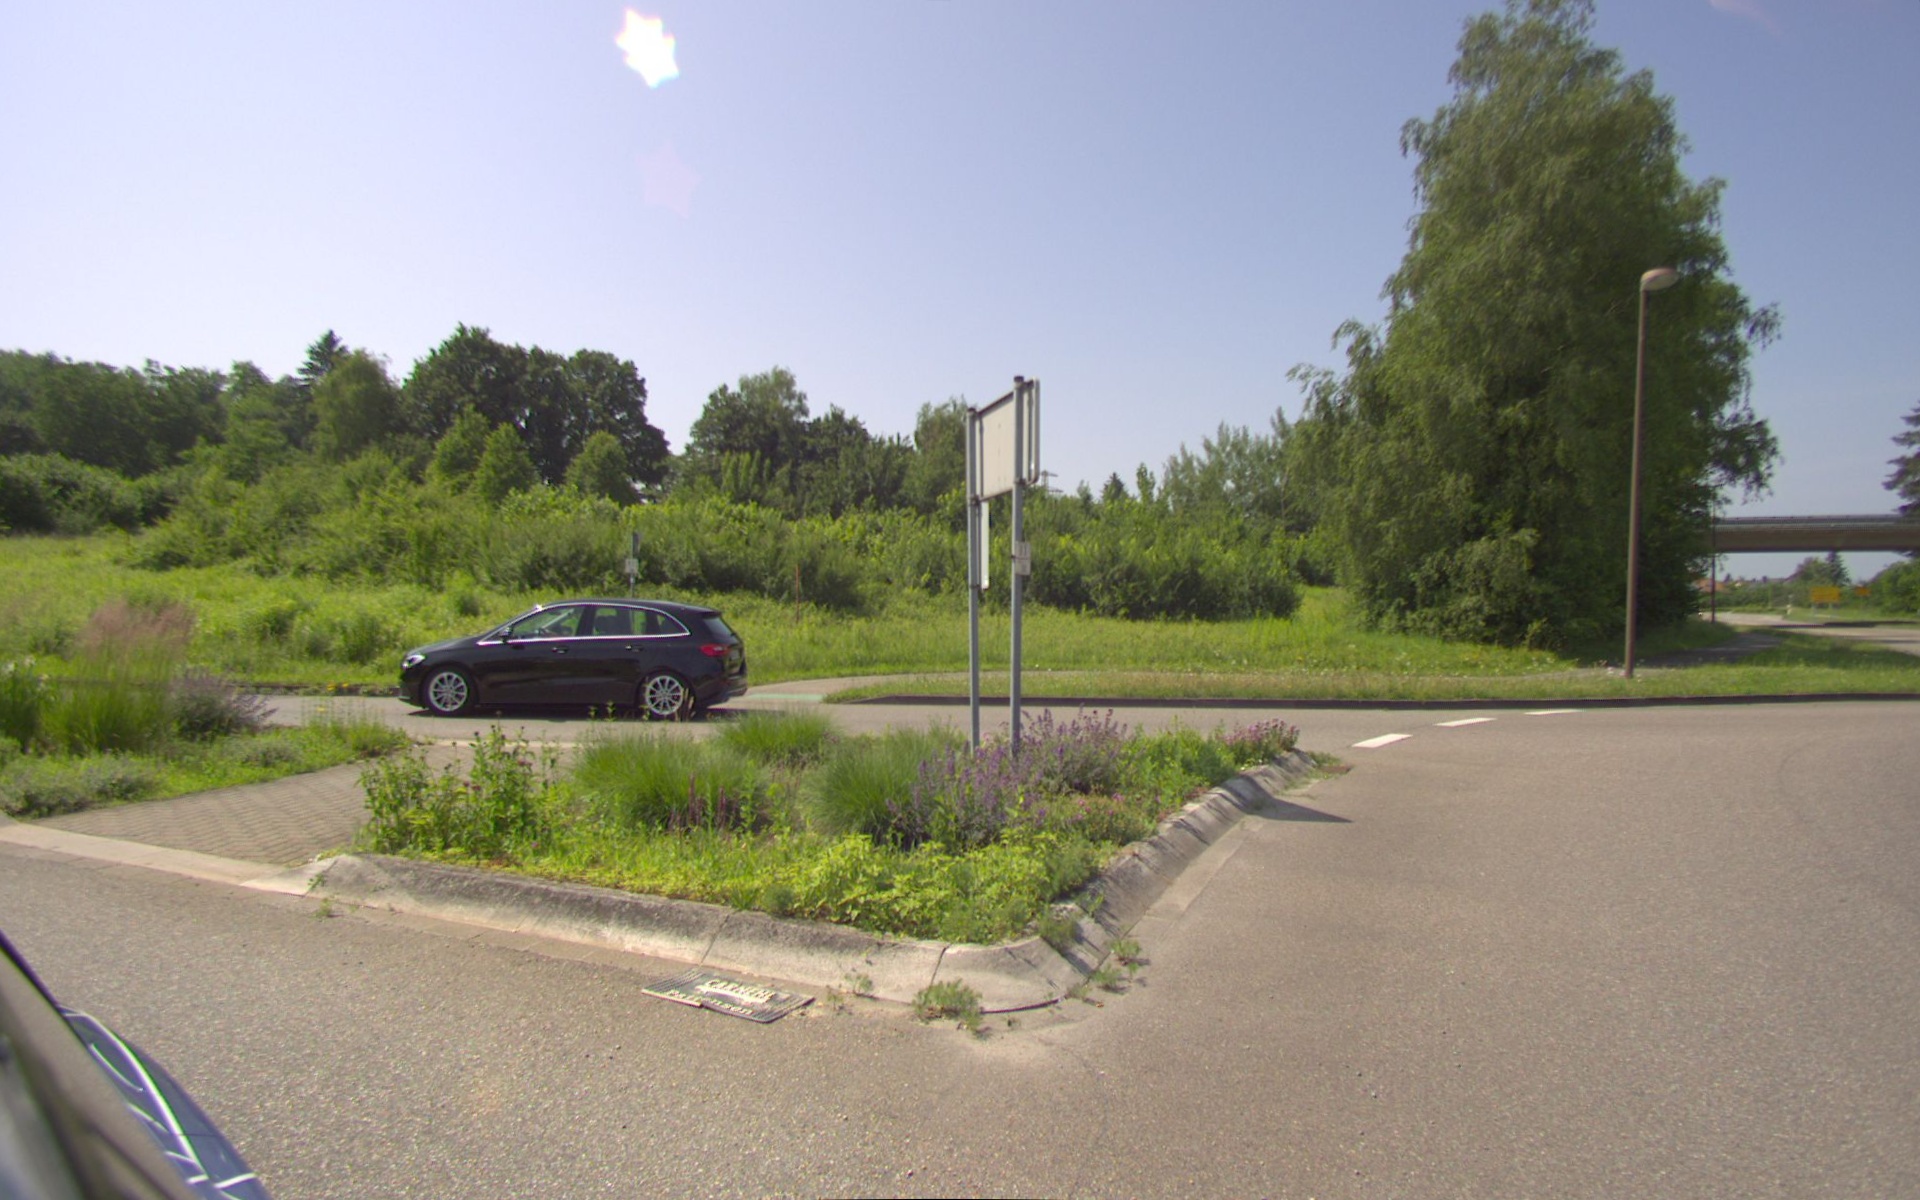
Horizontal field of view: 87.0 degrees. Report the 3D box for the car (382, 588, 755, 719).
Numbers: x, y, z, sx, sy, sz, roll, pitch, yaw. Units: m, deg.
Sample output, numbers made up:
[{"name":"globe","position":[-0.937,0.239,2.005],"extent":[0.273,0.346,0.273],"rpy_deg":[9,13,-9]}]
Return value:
[{"name":"car","position":[-4.887,0.682,13.107],"extent":[4.152,1.542,1.758],"rpy_deg":[1,-2,-2]}]
